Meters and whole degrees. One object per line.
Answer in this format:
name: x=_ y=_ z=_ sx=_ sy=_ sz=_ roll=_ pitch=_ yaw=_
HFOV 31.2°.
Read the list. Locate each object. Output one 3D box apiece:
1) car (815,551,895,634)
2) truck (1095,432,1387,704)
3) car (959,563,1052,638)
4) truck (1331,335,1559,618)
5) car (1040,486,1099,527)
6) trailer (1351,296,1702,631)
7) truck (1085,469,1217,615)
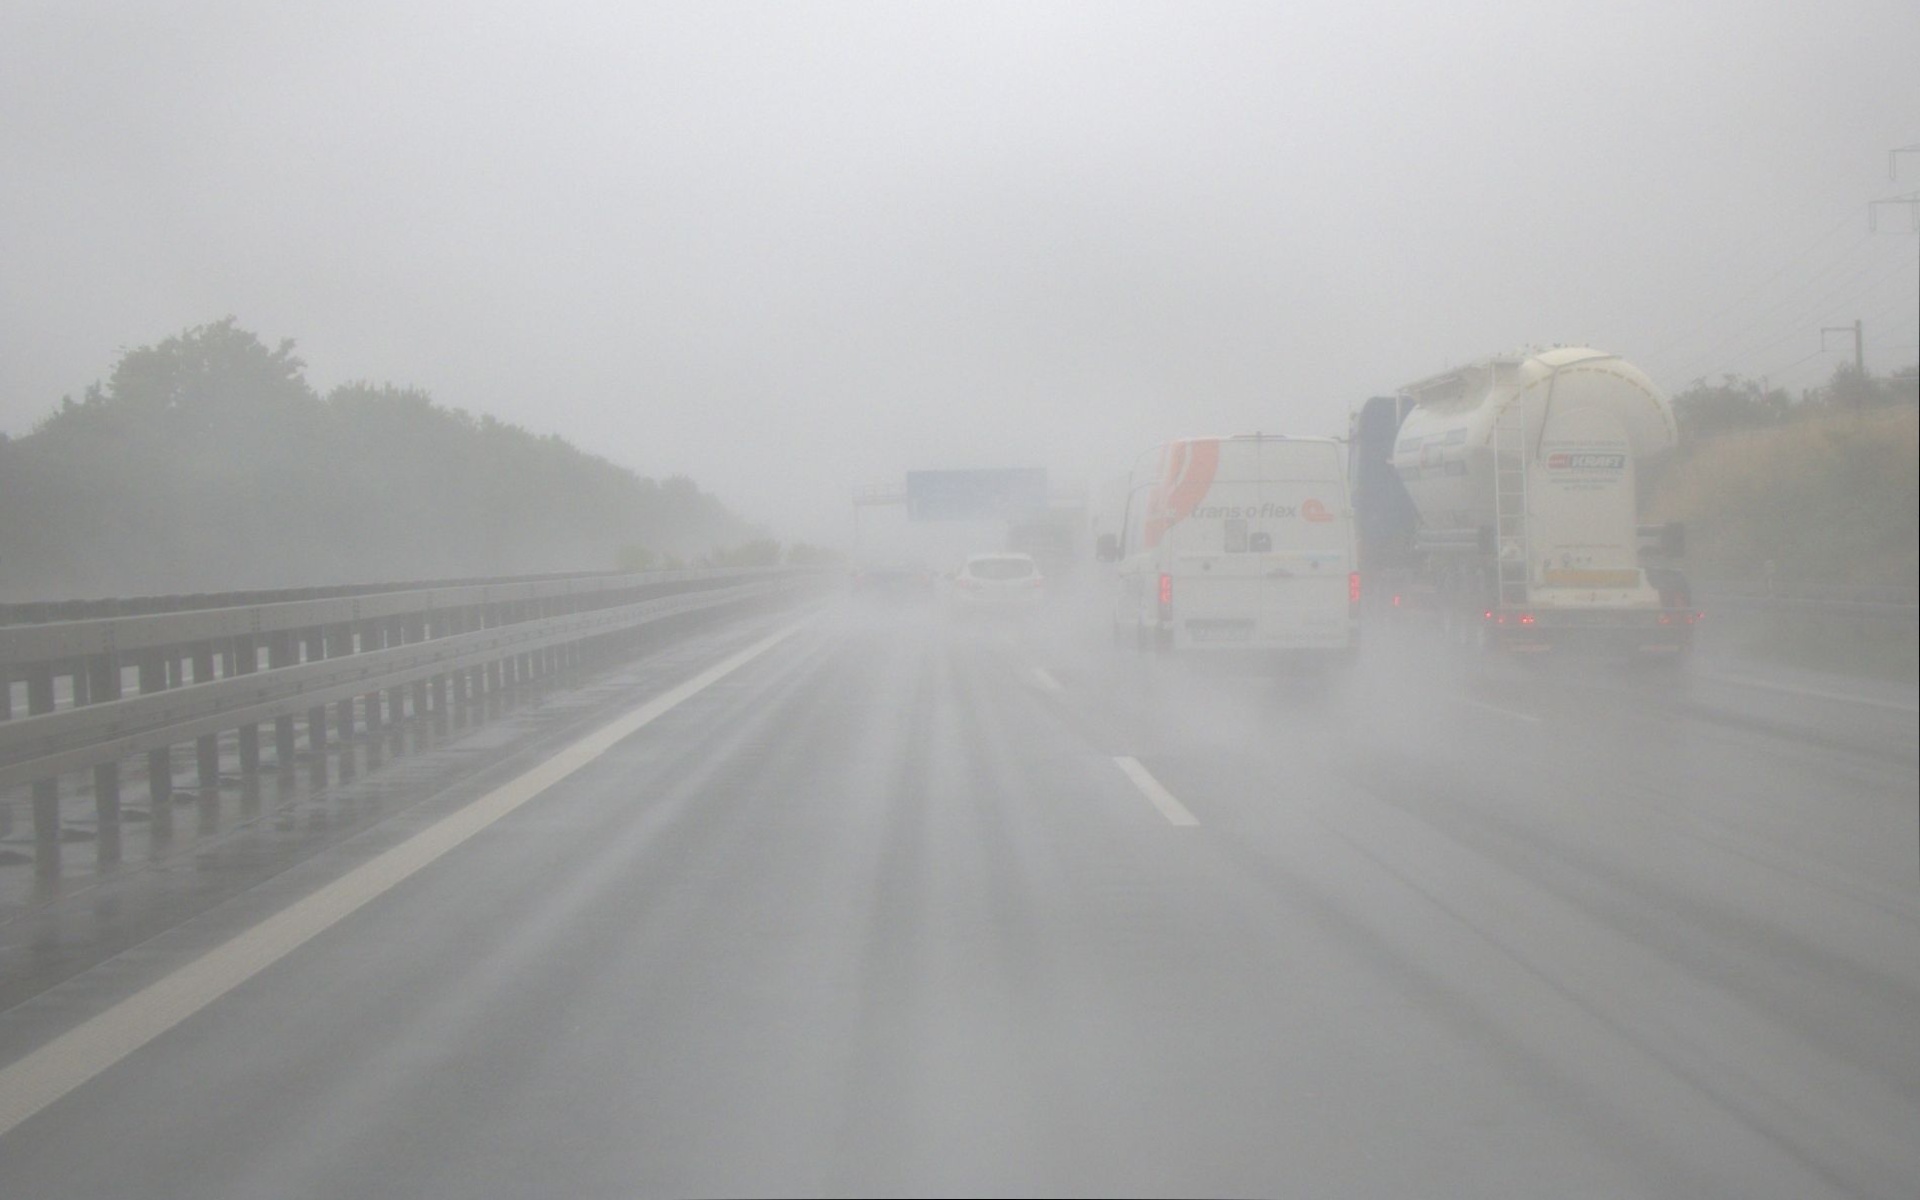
car: x=-2.346 y=-0.197 z=77.543 sx=1.702 sy=1.812 sz=3.862 roll=1 pitch=1 yaw=0
truck: x=2.699 y=-0.338 z=34.492 sx=2.419 sy=2.484 sz=5.560 roll=1 pitch=1 yaw=0
car: x=0.836 y=-0.011 z=64.459 sx=1.605 sy=1.333 sz=3.848 roll=1 pitch=1 yaw=-1
truck: x=7.125 y=-1.776 z=51.070 sx=2.496 sy=3.970 sz=5.076 roll=1 pitch=1 yaw=-2
car: x=5.627 y=-4.811 z=177.032 sx=2.788 sy=2.007 sz=4.993 roll=1 pitch=1 yaw=-1
trailer: x=7.223 y=-1.675 z=45.567 sx=2.497 sy=3.869 sz=11.067 roll=1 pitch=1 yaw=-2
truck: x=6.326 y=-1.833 z=116.659 sx=3.039 sy=4.572 sz=16.351 roll=1 pitch=0 yaw=-2
